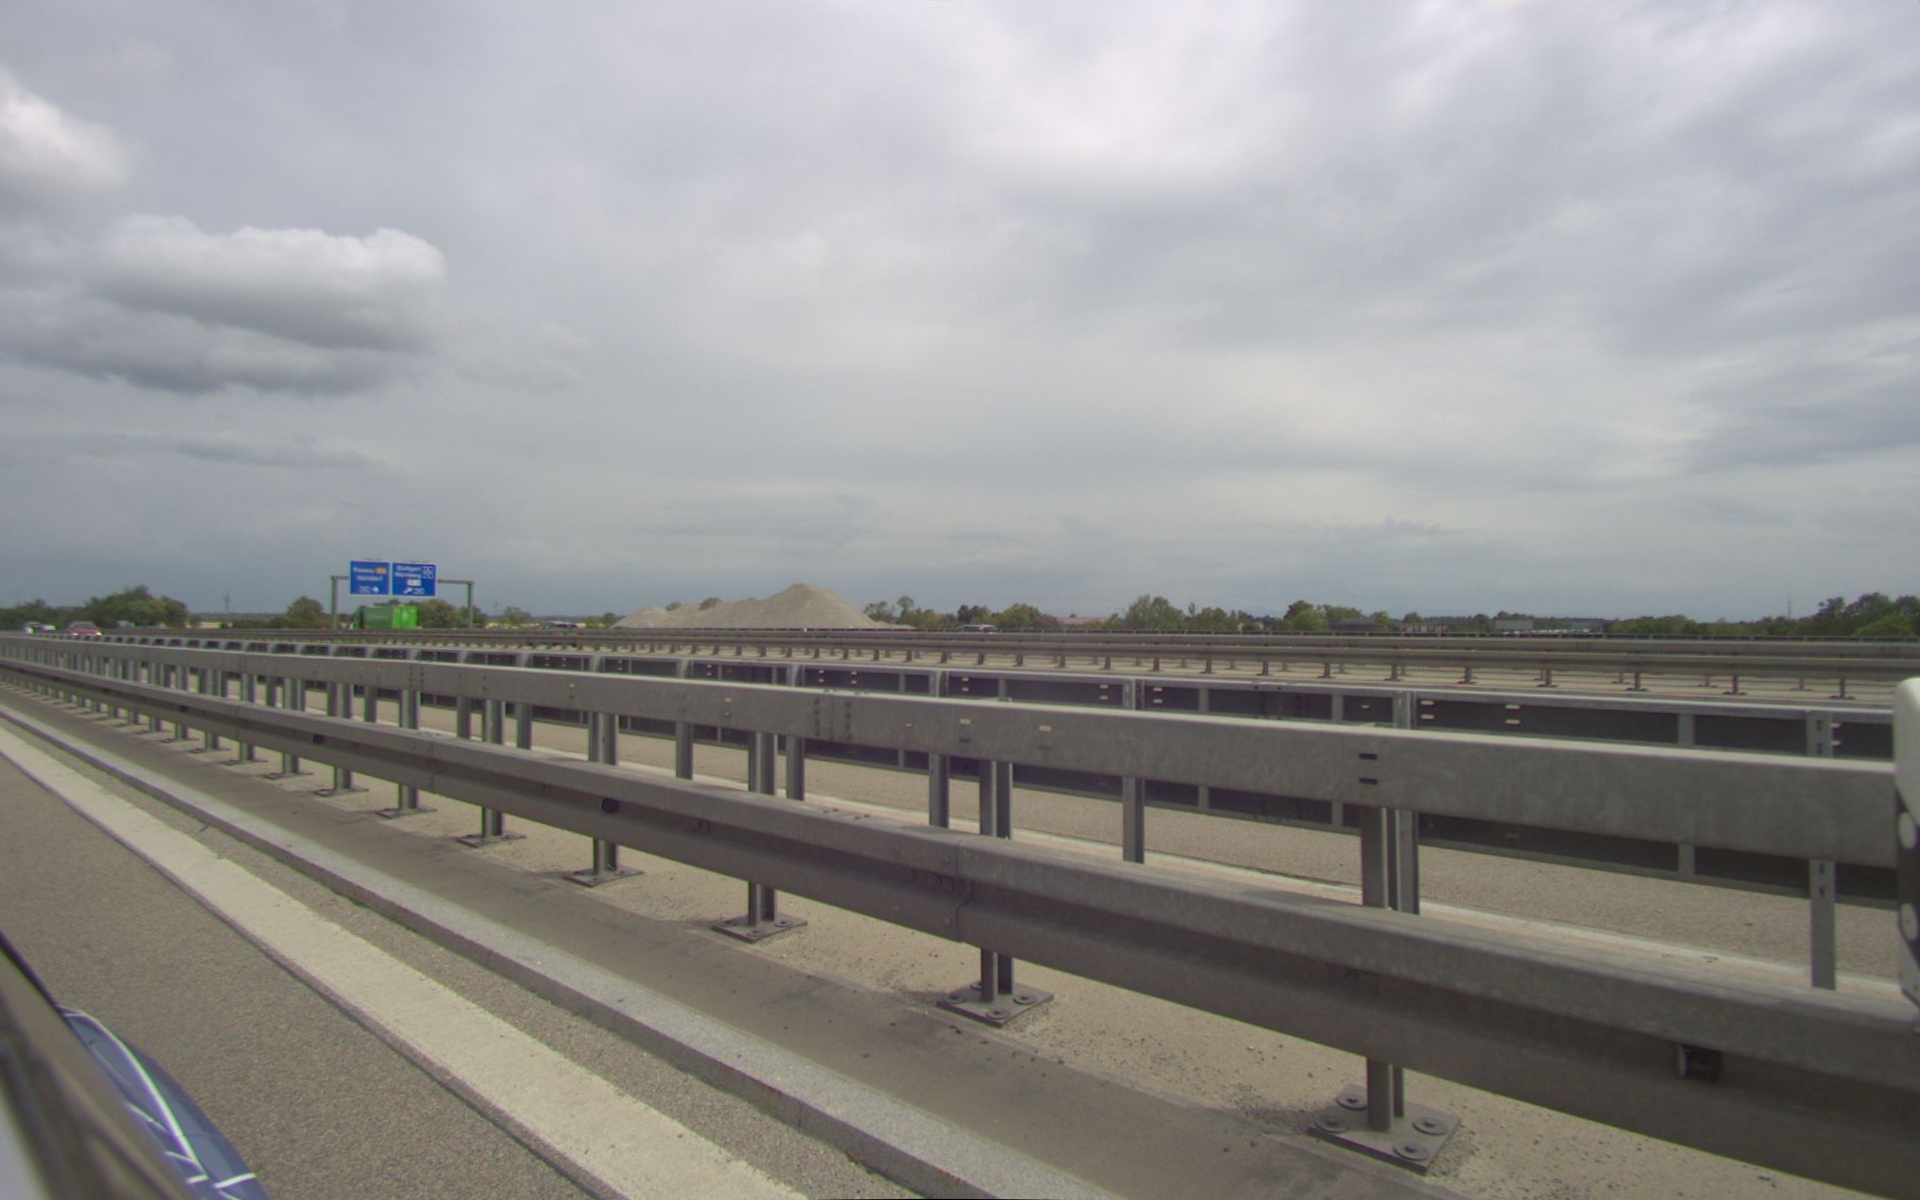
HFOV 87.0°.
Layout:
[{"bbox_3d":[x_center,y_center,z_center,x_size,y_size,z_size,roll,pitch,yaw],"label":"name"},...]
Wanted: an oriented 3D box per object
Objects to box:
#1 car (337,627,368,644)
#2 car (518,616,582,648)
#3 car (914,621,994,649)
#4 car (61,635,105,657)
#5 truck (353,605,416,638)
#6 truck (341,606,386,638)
[{"bbox_3d":[-86.137,5.063,143.466,5.514,2.240,2.173,-2,-1,41],"label":"car"},{"bbox_3d":[-24.743,1.936,61.012,3.998,1.802,1.973,-2,-1,41],"label":"car"},{"bbox_3d":[-0.364,1.991,58.064,4.391,1.564,1.972,-2,-2,42],"label":"car"},{"bbox_3d":[-66.053,3.437,76.216,4.351,1.557,1.801,-2,-1,40],"label":"car"},{"bbox_3d":[-66.970,2.498,117.631,10.431,3.662,2.982,-2,-1,41],"label":"truck"},{"bbox_3d":[-71.926,2.662,121.981,5.891,3.636,3.010,-2,-1,41],"label":"truck"}]
